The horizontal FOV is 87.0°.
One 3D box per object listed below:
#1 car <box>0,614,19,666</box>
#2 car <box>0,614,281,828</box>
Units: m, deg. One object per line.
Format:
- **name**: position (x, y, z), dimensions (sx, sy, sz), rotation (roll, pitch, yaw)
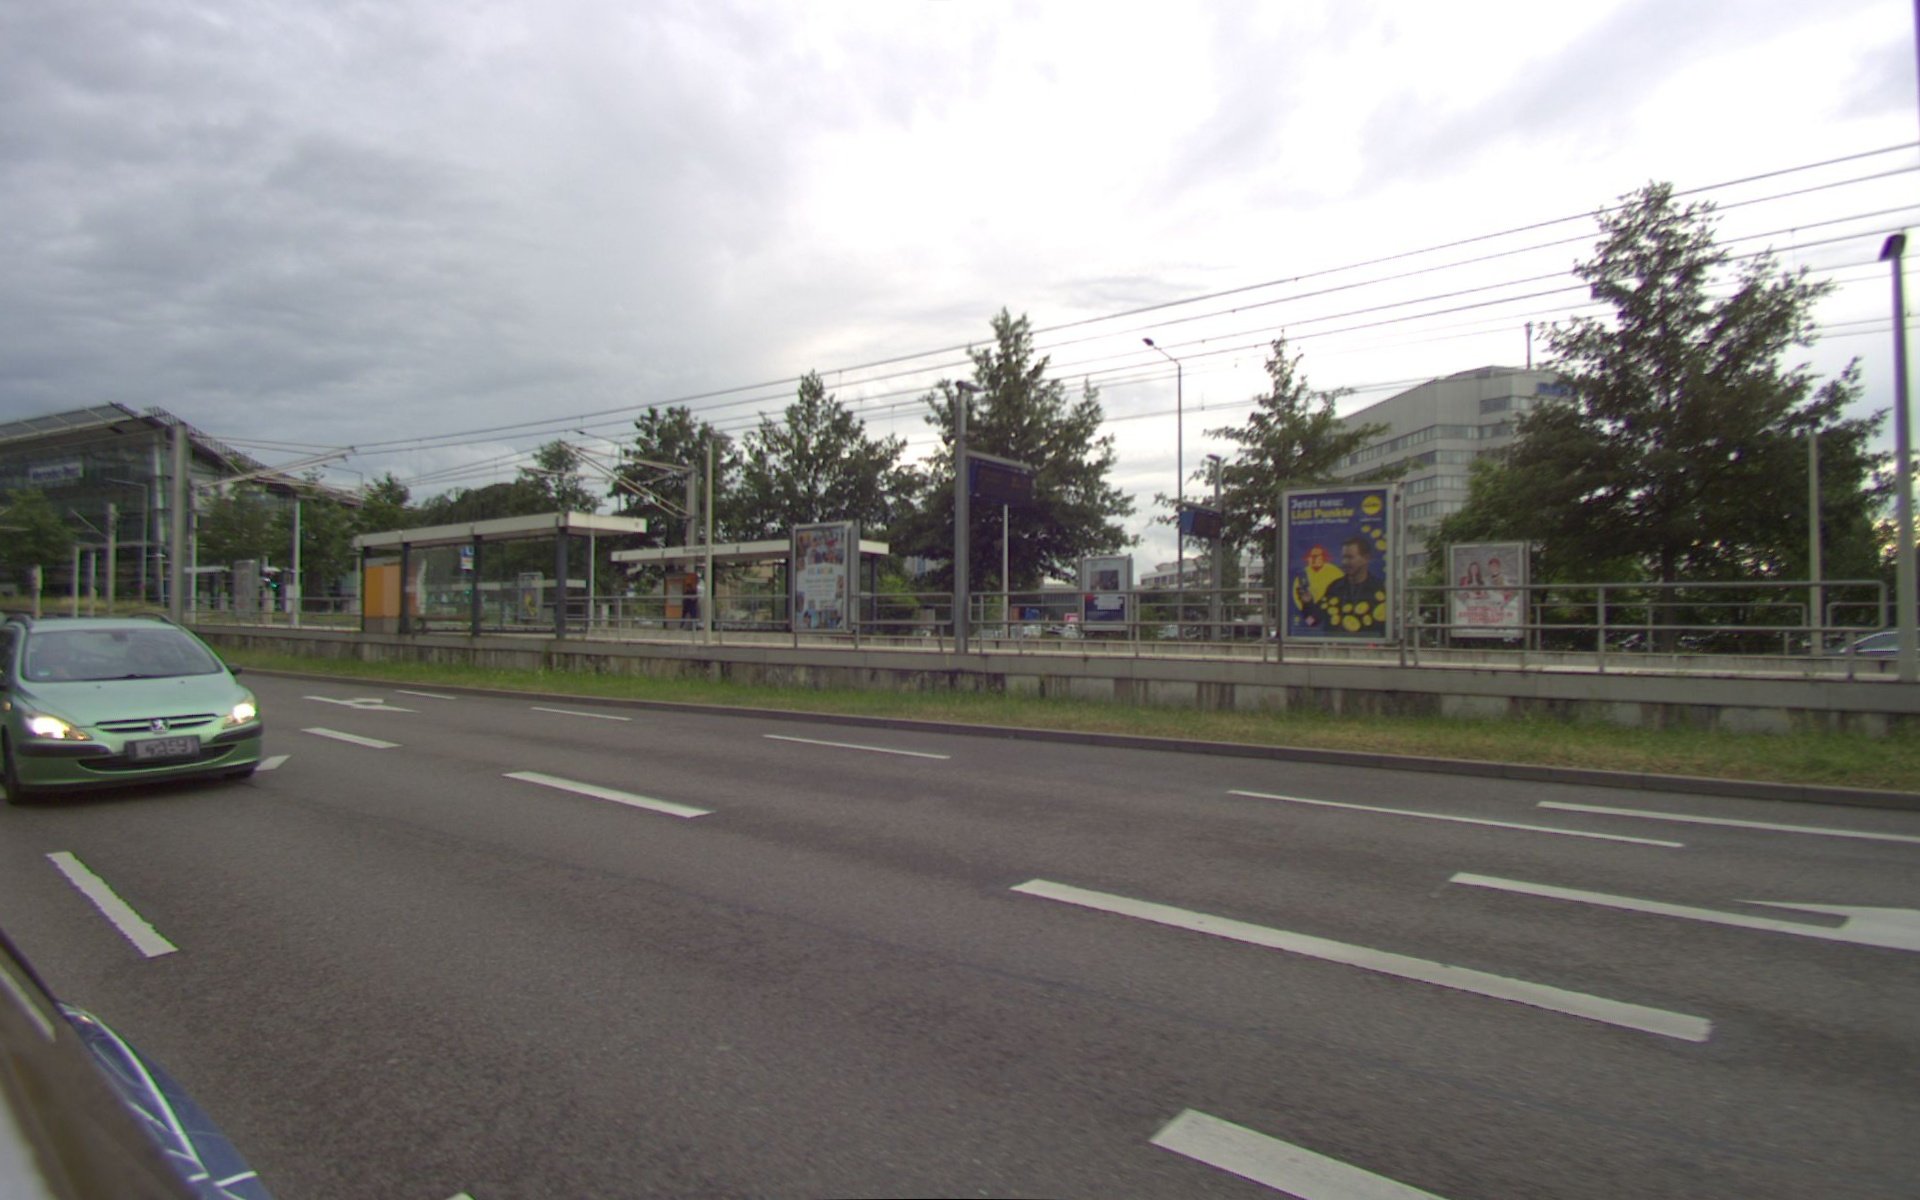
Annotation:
- **car**: position (-30.416, 1.220, 31.248), dimensions (3.904, 1.534, 1.675), rotation (0, 1, 42)
- **car**: position (-7.988, 0.903, 9.361), dimensions (4.400, 1.479, 1.677), rotation (0, 1, 40)
